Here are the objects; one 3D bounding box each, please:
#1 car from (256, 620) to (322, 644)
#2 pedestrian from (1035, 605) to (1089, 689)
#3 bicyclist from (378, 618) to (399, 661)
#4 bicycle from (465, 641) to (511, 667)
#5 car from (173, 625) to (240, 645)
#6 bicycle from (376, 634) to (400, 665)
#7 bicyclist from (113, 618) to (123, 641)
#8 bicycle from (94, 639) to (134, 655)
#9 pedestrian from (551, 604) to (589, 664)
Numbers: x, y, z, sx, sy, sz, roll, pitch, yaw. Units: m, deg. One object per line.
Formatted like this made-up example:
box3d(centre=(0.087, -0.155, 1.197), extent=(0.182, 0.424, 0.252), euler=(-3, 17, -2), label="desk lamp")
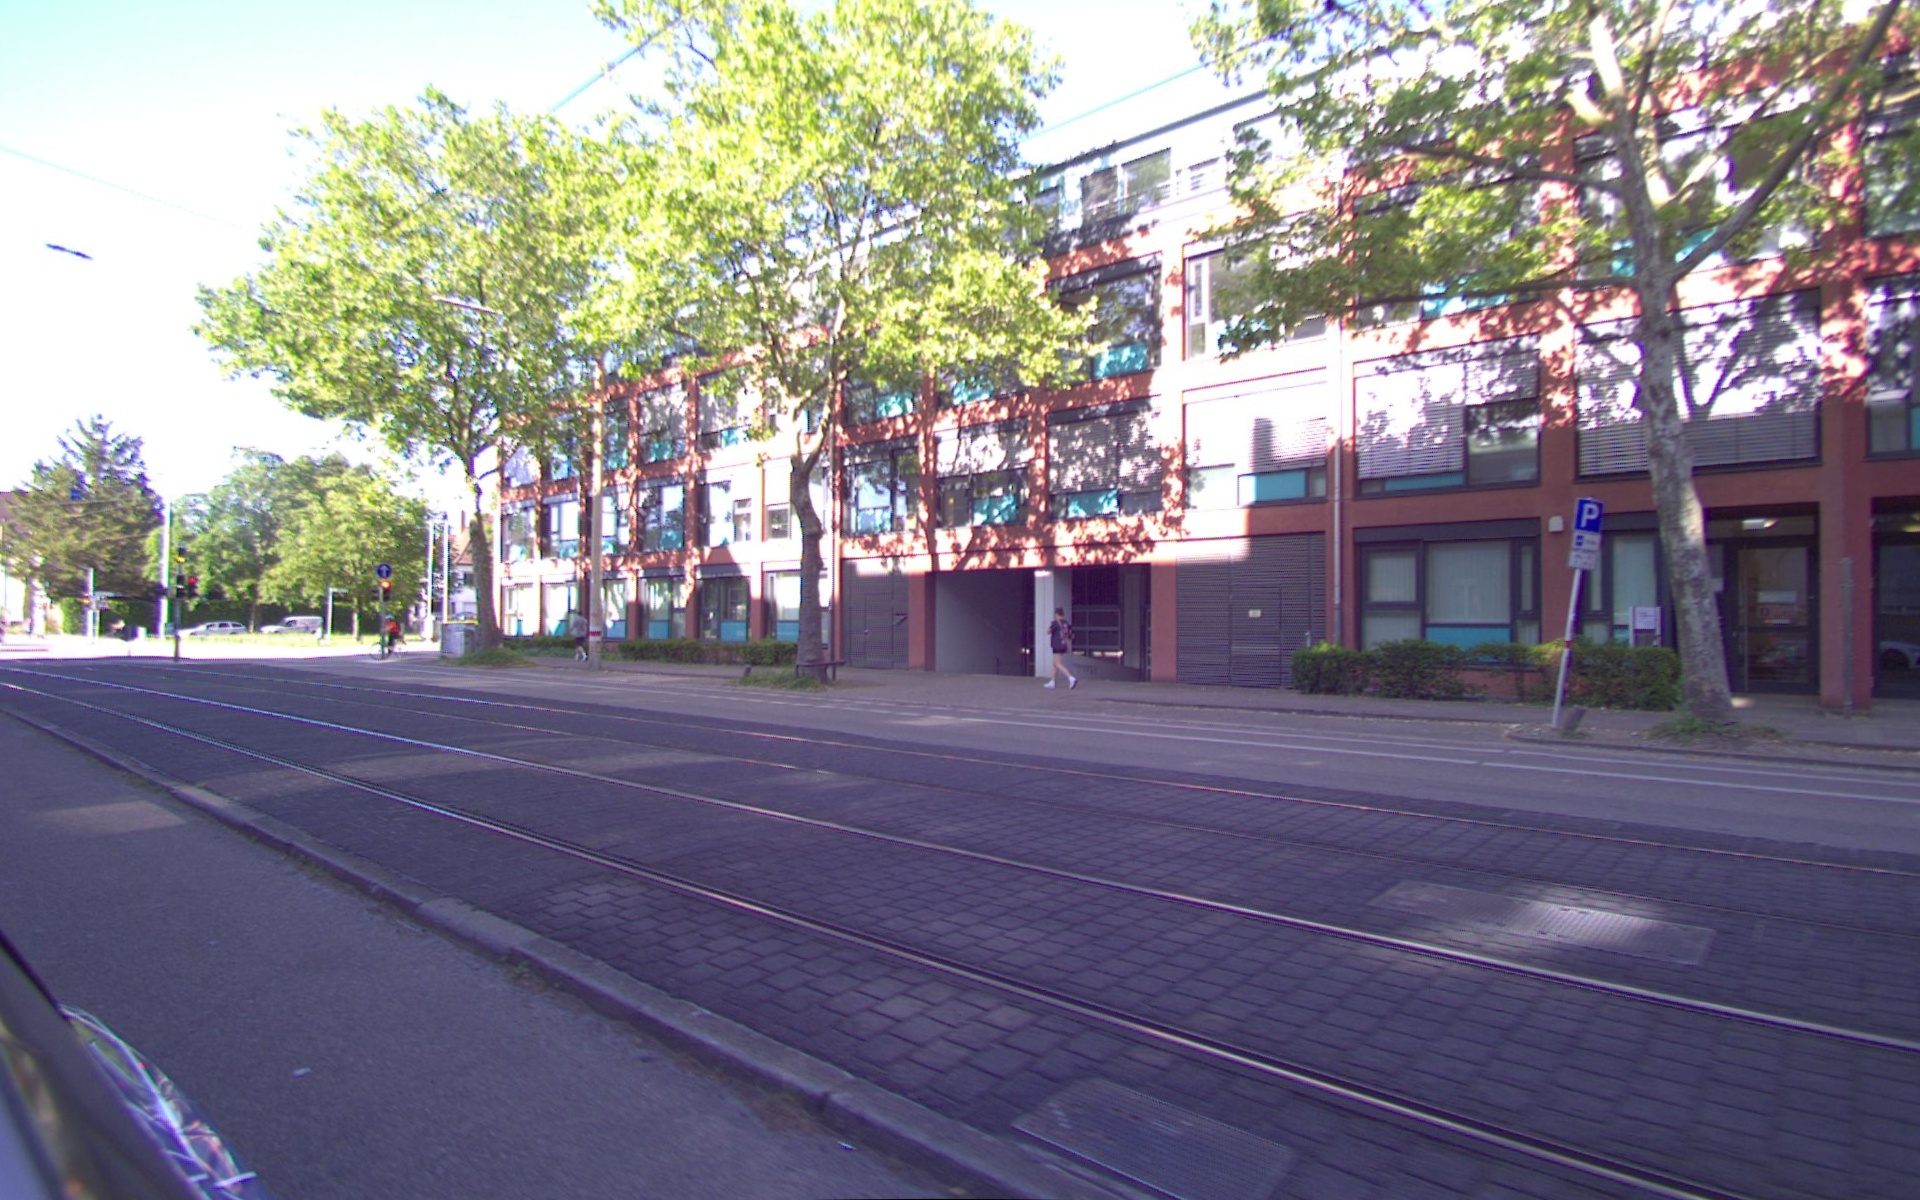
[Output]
box3d(centre=(-55.478, 2.635, 83.689), extent=(1.817, 1.881, 4.254), euler=(-3, -2, 43), label="car")
box3d(centre=(2.166, 0.998, 21.543), extent=(0.900, 1.731, 0.619), euler=(-2, -1, 40), label="pedestrian")
box3d(centre=(-22.976, 1.567, 40.690), extent=(0.596, 1.705, 0.935), euler=(-1, 0, -24), label="bicyclist")
box3d(centre=(-16.794, 1.916, 35.983), extent=(1.531, 0.913, 0.519), euler=(0, -1, 18), label="bicycle")
box3d(centre=(-57.777, 2.673, 77.596), extent=(3.939, 1.444, 1.818), euler=(1, -2, -43), label="car")
box3d(centre=(-22.945, 1.975, 40.645), extent=(0.622, 1.138, 2.042), euler=(-1, 0, -24), label="bicycle")
box3d(centre=(-61.815, 2.159, 74.288), extent=(0.551, 1.635, 0.899), euler=(1, -2, -41), label="bicyclist")
box3d(centre=(-61.962, 3.445, 74.127), extent=(2.251, 1.126, 0.931), euler=(1, -2, -41), label="bicycle")
box3d(centre=(-13.514, 1.181, 35.051), extent=(0.778, 2.029, 0.903), euler=(-2, 0, 33), label="pedestrian")
